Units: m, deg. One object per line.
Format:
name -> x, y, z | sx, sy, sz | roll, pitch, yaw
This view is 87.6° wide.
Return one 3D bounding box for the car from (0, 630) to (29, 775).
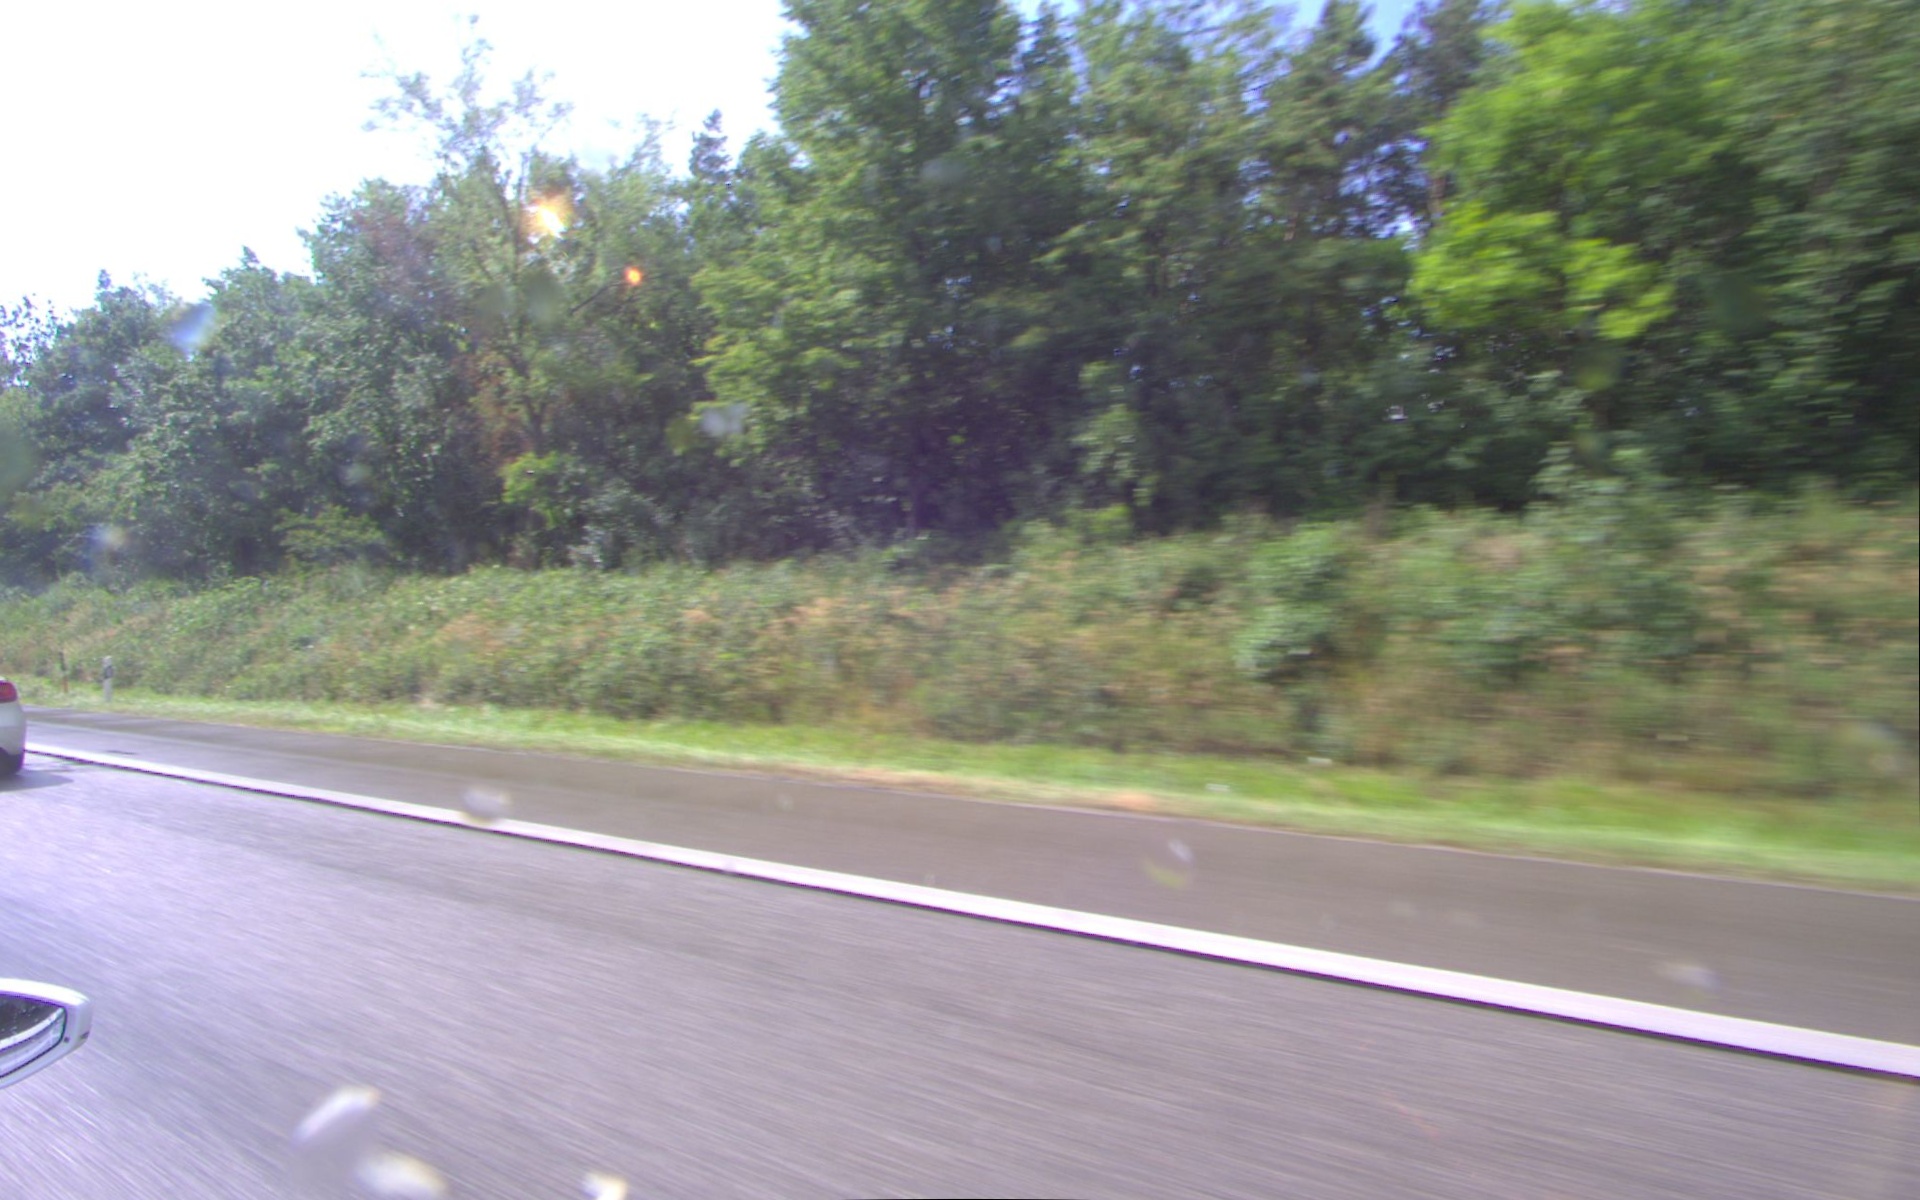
car -> -11.686, 1.043, 10.647 | 4.161, 1.443, 1.689 | -1, -2, 33
